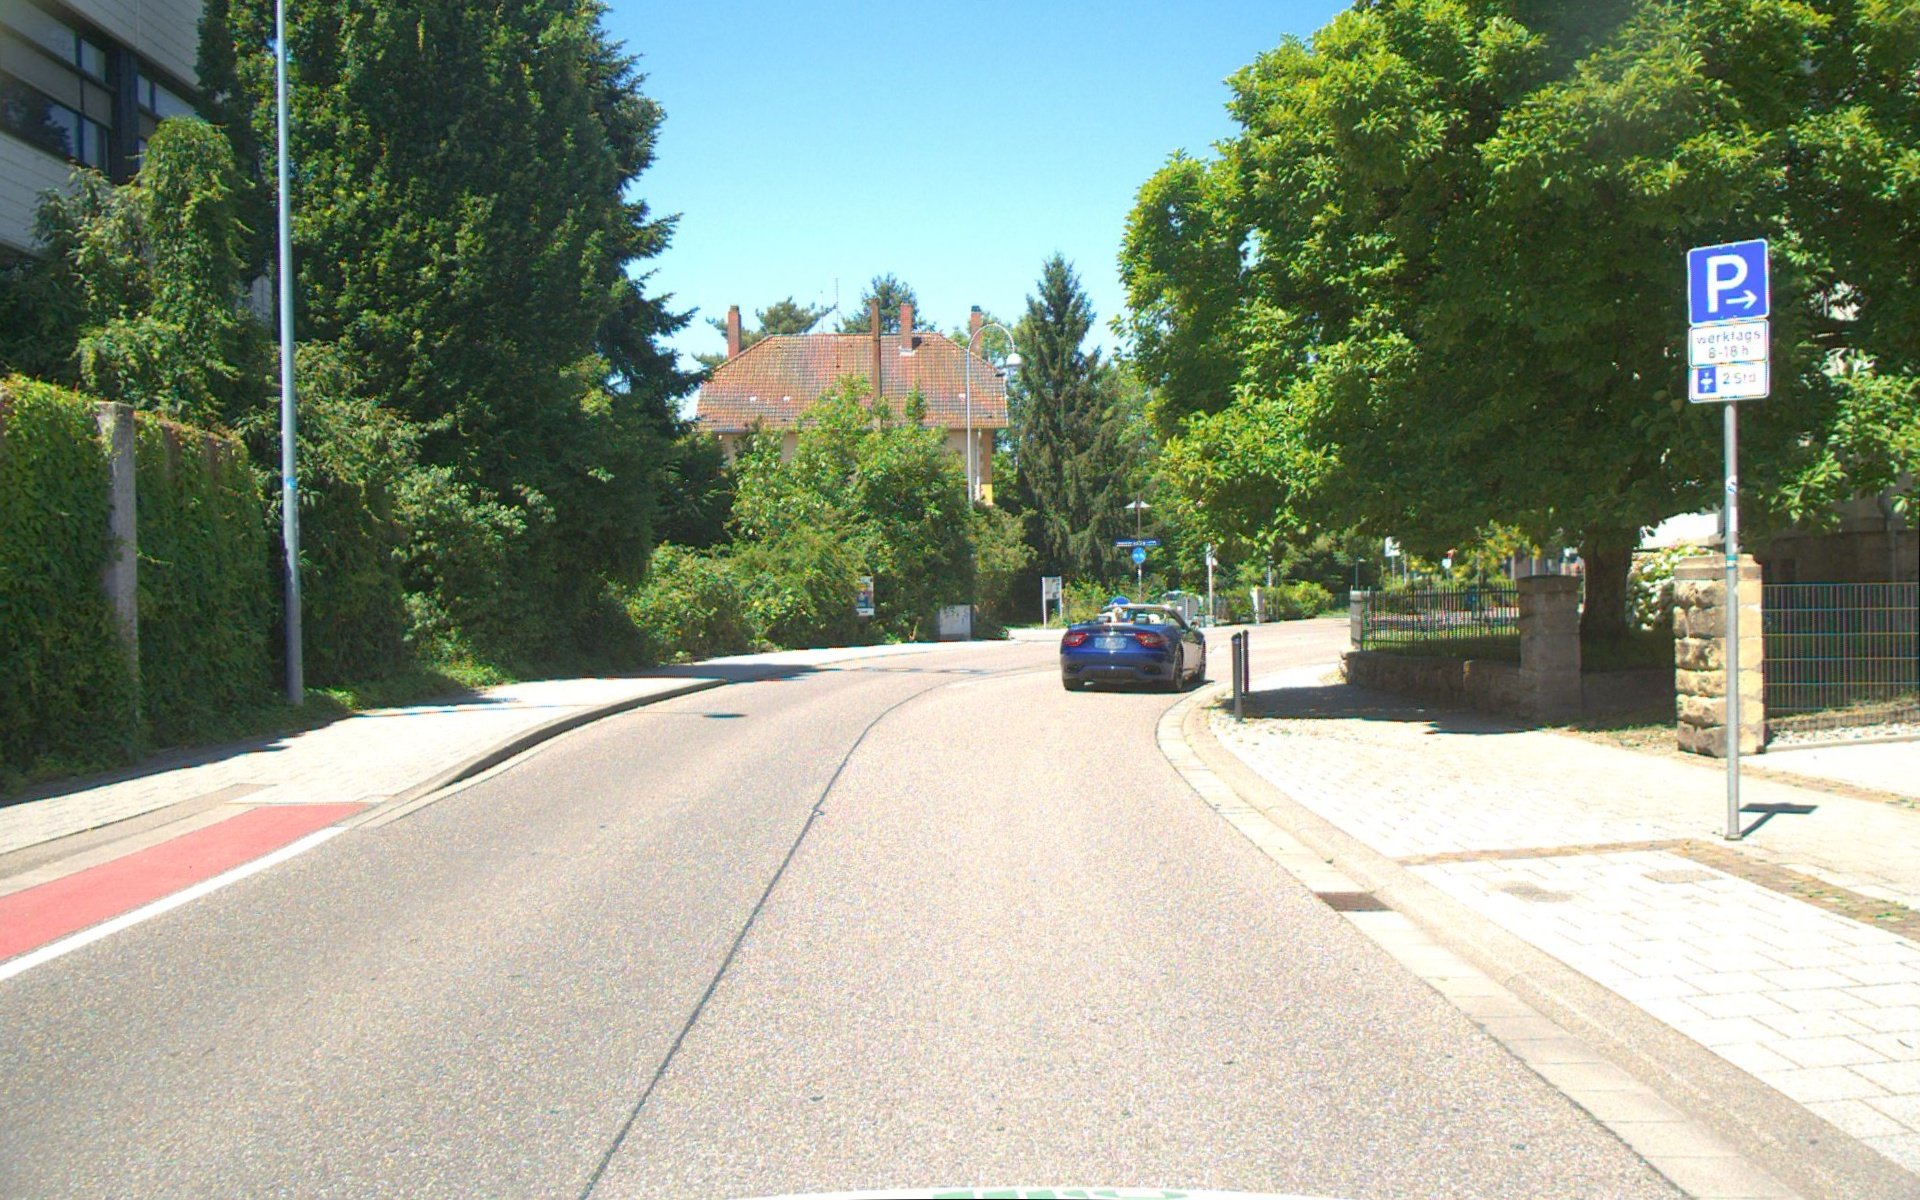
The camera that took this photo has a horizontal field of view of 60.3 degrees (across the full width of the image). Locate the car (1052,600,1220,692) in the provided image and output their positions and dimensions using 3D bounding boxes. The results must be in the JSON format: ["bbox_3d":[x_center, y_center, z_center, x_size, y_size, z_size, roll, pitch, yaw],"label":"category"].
[{"bbox_3d":[3.008,0.693,27.313,1.788,1.360,4.702,0,0,19],"label":"car"}]
